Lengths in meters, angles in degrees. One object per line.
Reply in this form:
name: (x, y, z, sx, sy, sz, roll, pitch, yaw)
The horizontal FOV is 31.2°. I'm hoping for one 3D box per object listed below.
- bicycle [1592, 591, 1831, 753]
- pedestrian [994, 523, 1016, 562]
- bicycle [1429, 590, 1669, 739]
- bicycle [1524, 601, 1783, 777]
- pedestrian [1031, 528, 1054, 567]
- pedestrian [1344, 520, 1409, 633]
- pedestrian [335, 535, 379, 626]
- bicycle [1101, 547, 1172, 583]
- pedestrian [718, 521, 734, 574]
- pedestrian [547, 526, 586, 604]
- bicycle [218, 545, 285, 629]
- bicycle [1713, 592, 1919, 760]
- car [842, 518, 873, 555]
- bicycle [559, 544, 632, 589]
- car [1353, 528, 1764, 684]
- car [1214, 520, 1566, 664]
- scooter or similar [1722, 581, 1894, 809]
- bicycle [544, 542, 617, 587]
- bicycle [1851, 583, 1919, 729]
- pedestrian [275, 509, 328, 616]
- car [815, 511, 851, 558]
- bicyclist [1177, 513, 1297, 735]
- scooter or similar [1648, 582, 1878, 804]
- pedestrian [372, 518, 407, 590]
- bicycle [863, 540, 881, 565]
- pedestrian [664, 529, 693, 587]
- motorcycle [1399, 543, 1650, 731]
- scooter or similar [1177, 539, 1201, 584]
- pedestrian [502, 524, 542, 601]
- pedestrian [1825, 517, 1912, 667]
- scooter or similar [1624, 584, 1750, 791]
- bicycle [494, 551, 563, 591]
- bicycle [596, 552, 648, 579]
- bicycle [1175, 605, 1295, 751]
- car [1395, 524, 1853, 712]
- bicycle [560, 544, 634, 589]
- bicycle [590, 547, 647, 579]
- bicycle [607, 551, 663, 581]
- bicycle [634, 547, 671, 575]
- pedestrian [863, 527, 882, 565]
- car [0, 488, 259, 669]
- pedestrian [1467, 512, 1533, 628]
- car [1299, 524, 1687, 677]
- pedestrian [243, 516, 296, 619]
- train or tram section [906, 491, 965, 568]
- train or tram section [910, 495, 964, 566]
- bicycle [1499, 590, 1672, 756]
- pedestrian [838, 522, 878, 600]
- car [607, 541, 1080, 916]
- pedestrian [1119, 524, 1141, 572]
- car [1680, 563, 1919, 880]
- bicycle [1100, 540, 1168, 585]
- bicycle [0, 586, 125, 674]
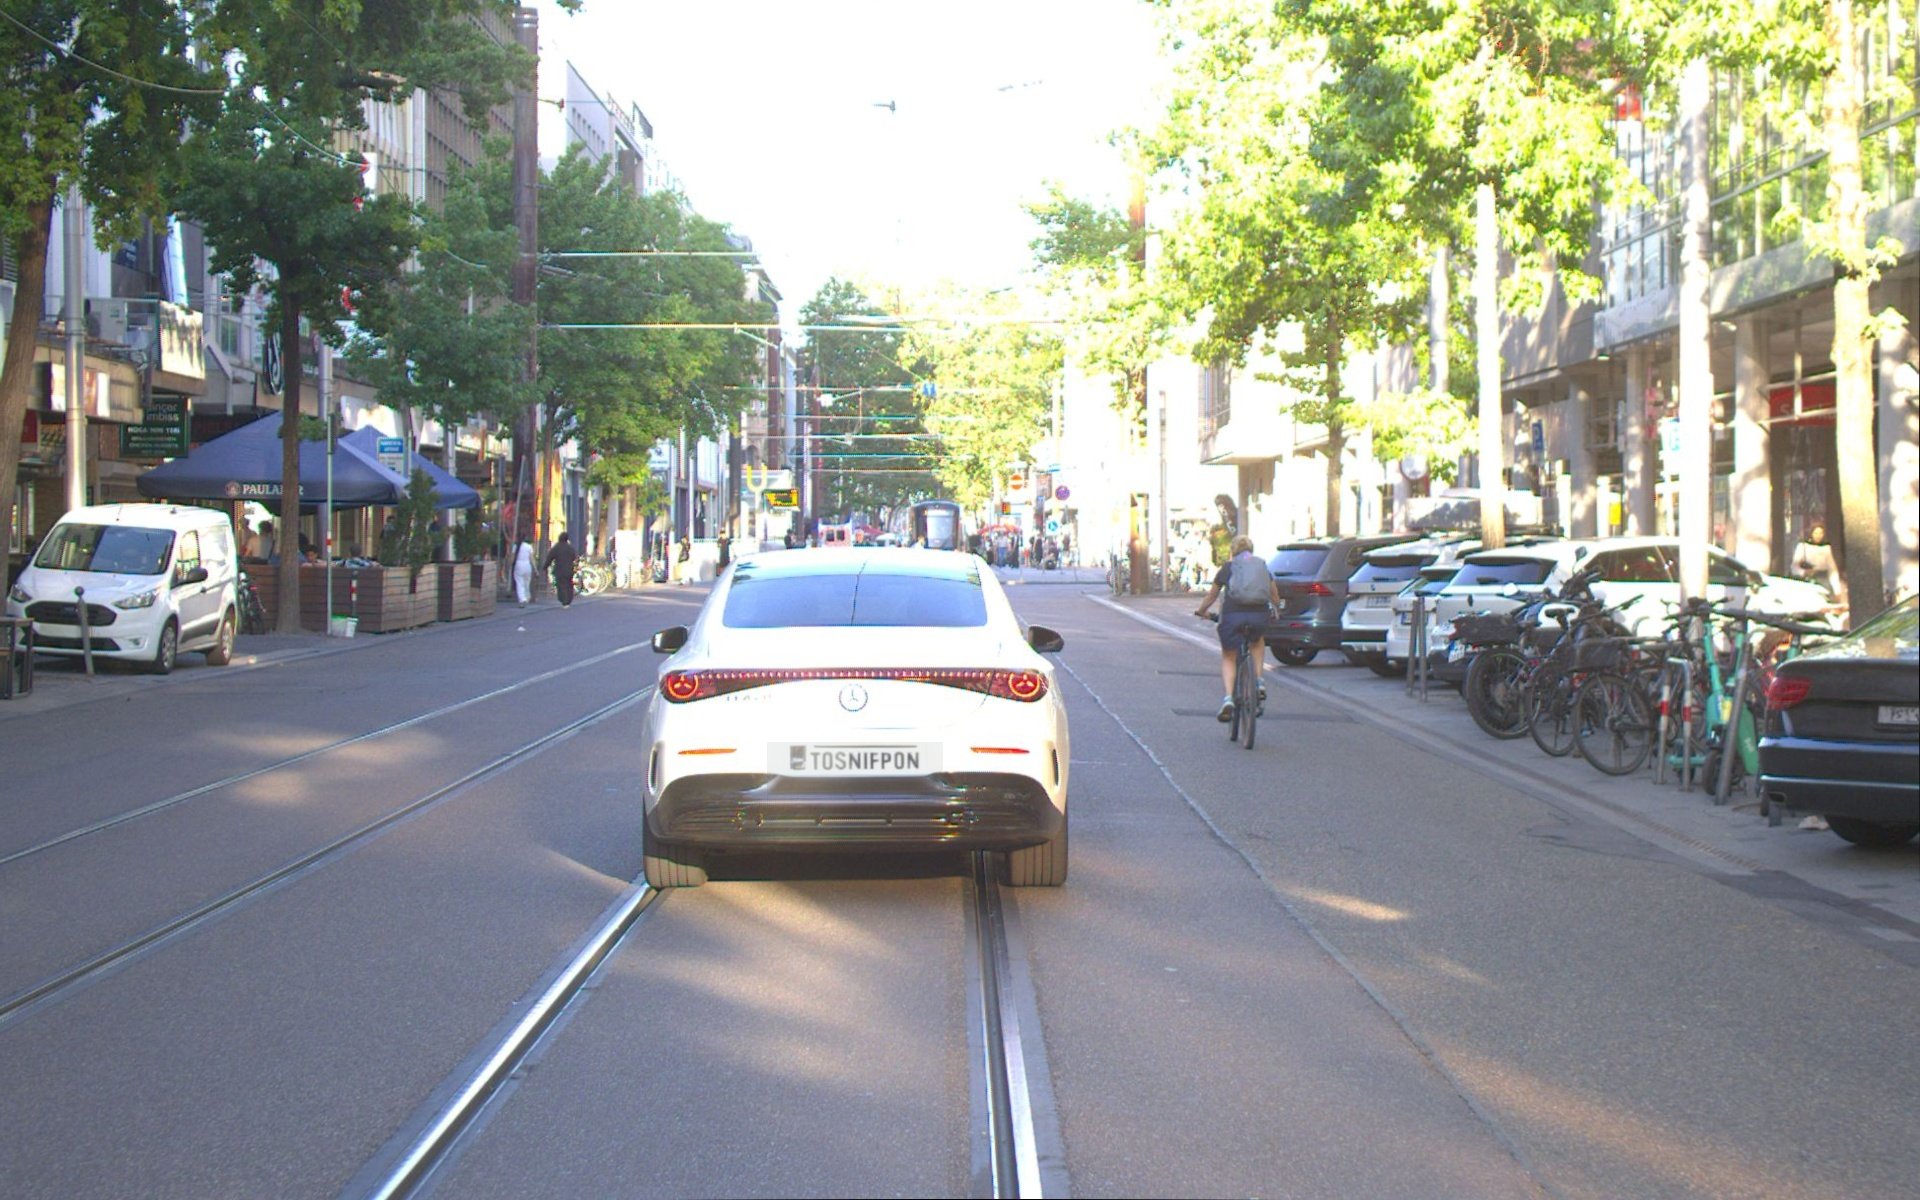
bicycle: (5.680, 0.533, 25.971, 1.689, 1.102, 0.632, -3, 1, -26)
pedestrian: (2.120, -2.710, 161.609, 0.960, 1.779, 0.804, -2, 1, 0)
bicycle: (4.840, 0.516, 28.209, 1.890, 1.116, 0.667, -3, 1, -29)
bicycle: (4.843, 0.603, 24.012, 1.558, 1.084, 0.869, -4, 3, -30)
pedestrian: (3.844, -2.437, 160.346, 0.960, 1.779, 0.804, -2, 1, 0)
pedestrian: (6.337, -0.353, 52.309, 0.680, 1.679, 0.695, -1, 1, 34)
pedestrian: (-9.161, -0.300, 52.207, 0.549, 1.352, 0.583, 1, 1, -1)
bicycle: (5.460, -1.078, 106.311, 2.113, 1.092, 0.610, 0, 0, -11)
pedestrian: (-8.589, -1.926, 126.002, 0.571, 1.922, 0.541, 0, 1, -4)
pedestrian: (-7.954, -0.707, 69.468, 0.622, 1.545, 0.852, 2, 1, 0)
bicycle: (-10.336, -0.195, 50.110, 0.697, 1.117, 2.087, 2, 2, -18)
bicycle: (6.349, 0.532, 24.872, 1.669, 1.071, 0.733, -4, 3, -30)
car: (-6.943, -4.322, 233.178, 1.910, 2.452, 5.275, 0, 1, 0)
bicycle: (-9.090, -0.827, 85.778, 1.788, 1.073, 0.377, 1, 1, -4)
car: (6.565, 0.038, 37.664, 4.145, 1.494, 1.689, -3, 1, -23)
car: (5.576, -0.128, 44.412, 4.342, 1.646, 1.694, -3, 1, -31)
scooter or similar: (5.112, 0.559, 20.677, 0.458, 1.272, 1.304, -3, 1, 37)
bicycle: (-9.917, -0.929, 89.805, 1.846, 1.137, 0.377, 1, 1, 2)
bicycle: (8.015, 0.402, 27.315, 1.772, 1.102, 0.632, -3, 1, -25)
pedestrian: (-10.775, -0.619, 56.240, 0.717, 1.718, 0.675, 1, 1, -1)
car: (-7.919, -4.108, 214.501, 1.993, 2.887, 5.275, 0, 1, 0)
bicyclist: (2.092, 0.169, 25.897, 0.778, 1.607, 0.912, 2, 1, 9)
scooter or similar: (5.007, 0.565, 21.420, 1.302, 1.272, 0.564, -4, 1, -31)
pedestrian: (-12.352, -0.998, 74.402, 0.597, 1.527, 0.671, 2, 1, 1)
bicycle: (-4.088, -2.211, 160.215, 0.800, 1.138, 2.257, 2, 1, -1)
pedestrian: (-8.731, -1.301, 106.660, 0.788, 1.795, 0.844, 0, 1, 1)
motorcycle: (4.904, 0.303, 29.741, 2.313, 1.504, 0.858, -3, 1, -43)
scooter or similar: (6.525, -1.092, 97.919, 0.491, 1.273, 0.660, -2, 1, -11)
pedestrian: (-8.776, -0.761, 68.912, 0.622, 1.504, 0.833, 2, 1, 0)
pedestrian: (9.987, -0.095, 37.815, 0.714, 1.618, 0.882, -1, 1, 1)
scooter or similar: (4.739, 0.553, 22.454, 0.450, 1.272, 1.307, -4, 1, -1)
bicycle: (-10.429, -0.711, 83.179, 1.596, 0.927, 0.377, 2, 1, 7)
bicycle: (-10.162, -1.033, 103.339, 1.493, 0.780, 0.344, 1, 1, 2)
bicycle: (2.098, 0.566, 26.033, 0.719, 0.992, 2.058, 2, 1, 9)
car: (6.394, 0.134, 32.972, 4.147, 1.566, 1.854, -3, 2, -33)
bicycle: (-9.105, -0.833, 86.252, 1.788, 1.073, 0.377, 1, 1, -4)
bicycle: (-9.278, -1.011, 93.309, 1.493, 0.838, 0.344, 1, 1, 2)
bicycle: (-8.963, -0.937, 94.779, 1.493, 0.780, 0.344, 1, 1, 2)
bicycle: (-11.295, -1.439, 126.307, 0.719, 1.006, 2.038, 0, 1, 14)
pedestrian: (-4.081, -2.521, 160.253, 0.800, 1.776, 0.849, 2, 1, -1)
car: (-9.395, -0.278, 39.058, 1.795, 1.858, 4.553, 3, 1, 1)
pedestrian: (8.200, -0.451, 52.209, 0.689, 1.725, 0.631, -1, 1, 42)
car: (6.286, -0.019, 40.451, 4.235, 1.582, 1.884, -3, 1, -31)
pedestrian: (-10.925, -0.516, 54.428, 0.673, 1.601, 0.720, 1, 1, -1)
train or tram section: (-1.148, -3.338, 163.896, 2.694, 3.504, 12.546, 0, 1, 0)
train or tram section: (-1.157, -3.580, 176.448, 2.694, 3.504, 12.546, 0, 1, 0)
bicycle: (4.793, 0.544, 26.260, 0.481, 1.159, 1.691, -2, 1, 40)
pedestrian: (-2.368, -0.908, 79.705, 0.841, 1.795, 0.790, 2, 1, 1)
car: (-0.474, 0.479, 15.789, 1.857, 1.450, 4.175, 1, 1, 0)
pedestrian: (6.417, -1.977, 129.661, 0.748, 1.779, 0.767, -2, 1, 0)
car: (6.338, 0.485, 18.271, 5.046, 1.464, 1.977, -4, 1, -36)
bicycle: (5.225, -1.134, 103.327, 1.908, 1.277, 0.610, -2, 1, -11)
bicycle: (-9.689, 0.309, 35.639, 0.836, 0.862, 1.856, 3, 2, 39)
